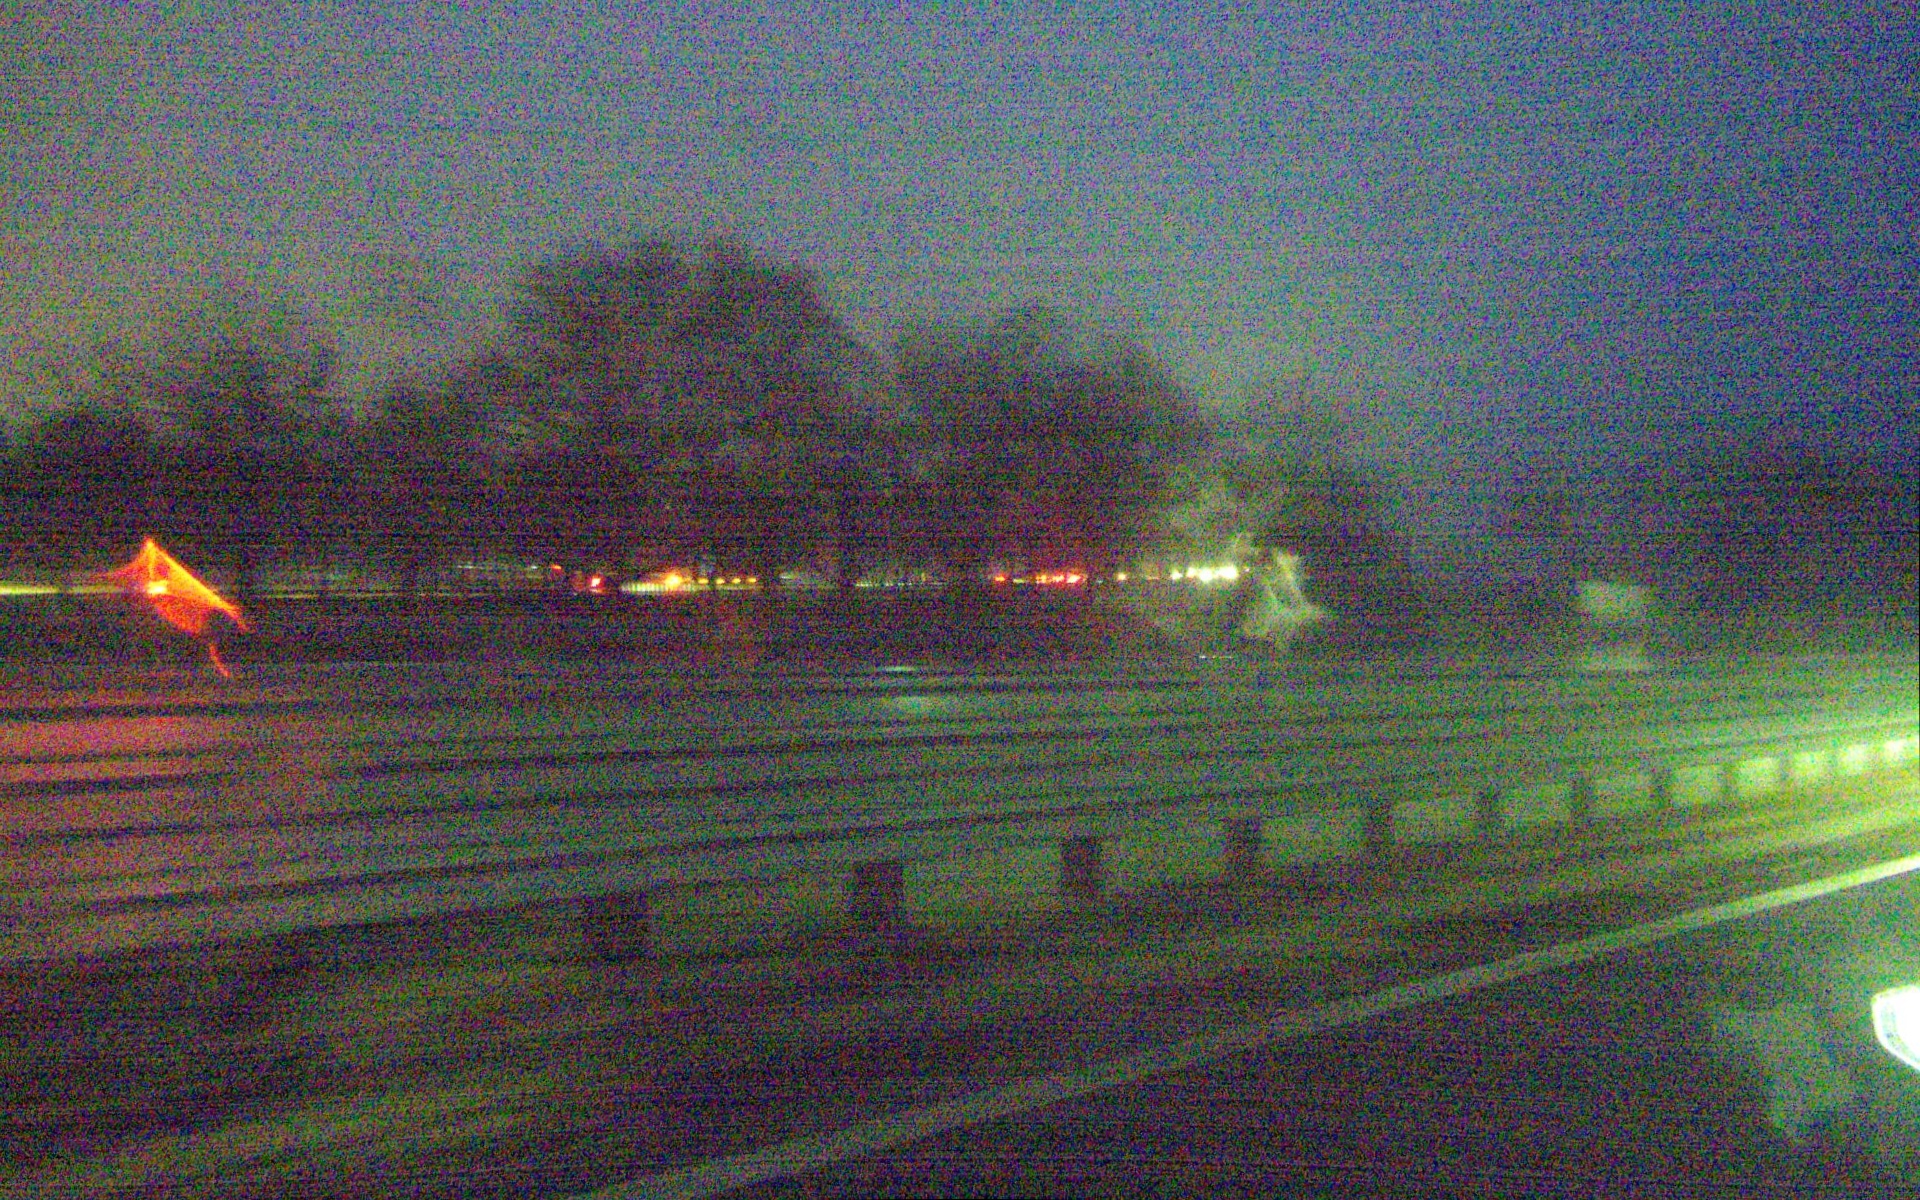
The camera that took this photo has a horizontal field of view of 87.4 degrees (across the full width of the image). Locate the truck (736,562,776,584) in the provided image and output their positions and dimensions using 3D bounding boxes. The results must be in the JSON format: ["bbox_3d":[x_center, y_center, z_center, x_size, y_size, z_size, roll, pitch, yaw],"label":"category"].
[{"bbox_3d":[-27.619,-3.659,136.165,2.641,2.726,4.740,4,3,36],"label":"truck"}]

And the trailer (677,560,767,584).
[{"bbox_3d":[-30.925,-3.634,131.522,2.652,2.736,12.812,4,3,36],"label":"trailer"}]
